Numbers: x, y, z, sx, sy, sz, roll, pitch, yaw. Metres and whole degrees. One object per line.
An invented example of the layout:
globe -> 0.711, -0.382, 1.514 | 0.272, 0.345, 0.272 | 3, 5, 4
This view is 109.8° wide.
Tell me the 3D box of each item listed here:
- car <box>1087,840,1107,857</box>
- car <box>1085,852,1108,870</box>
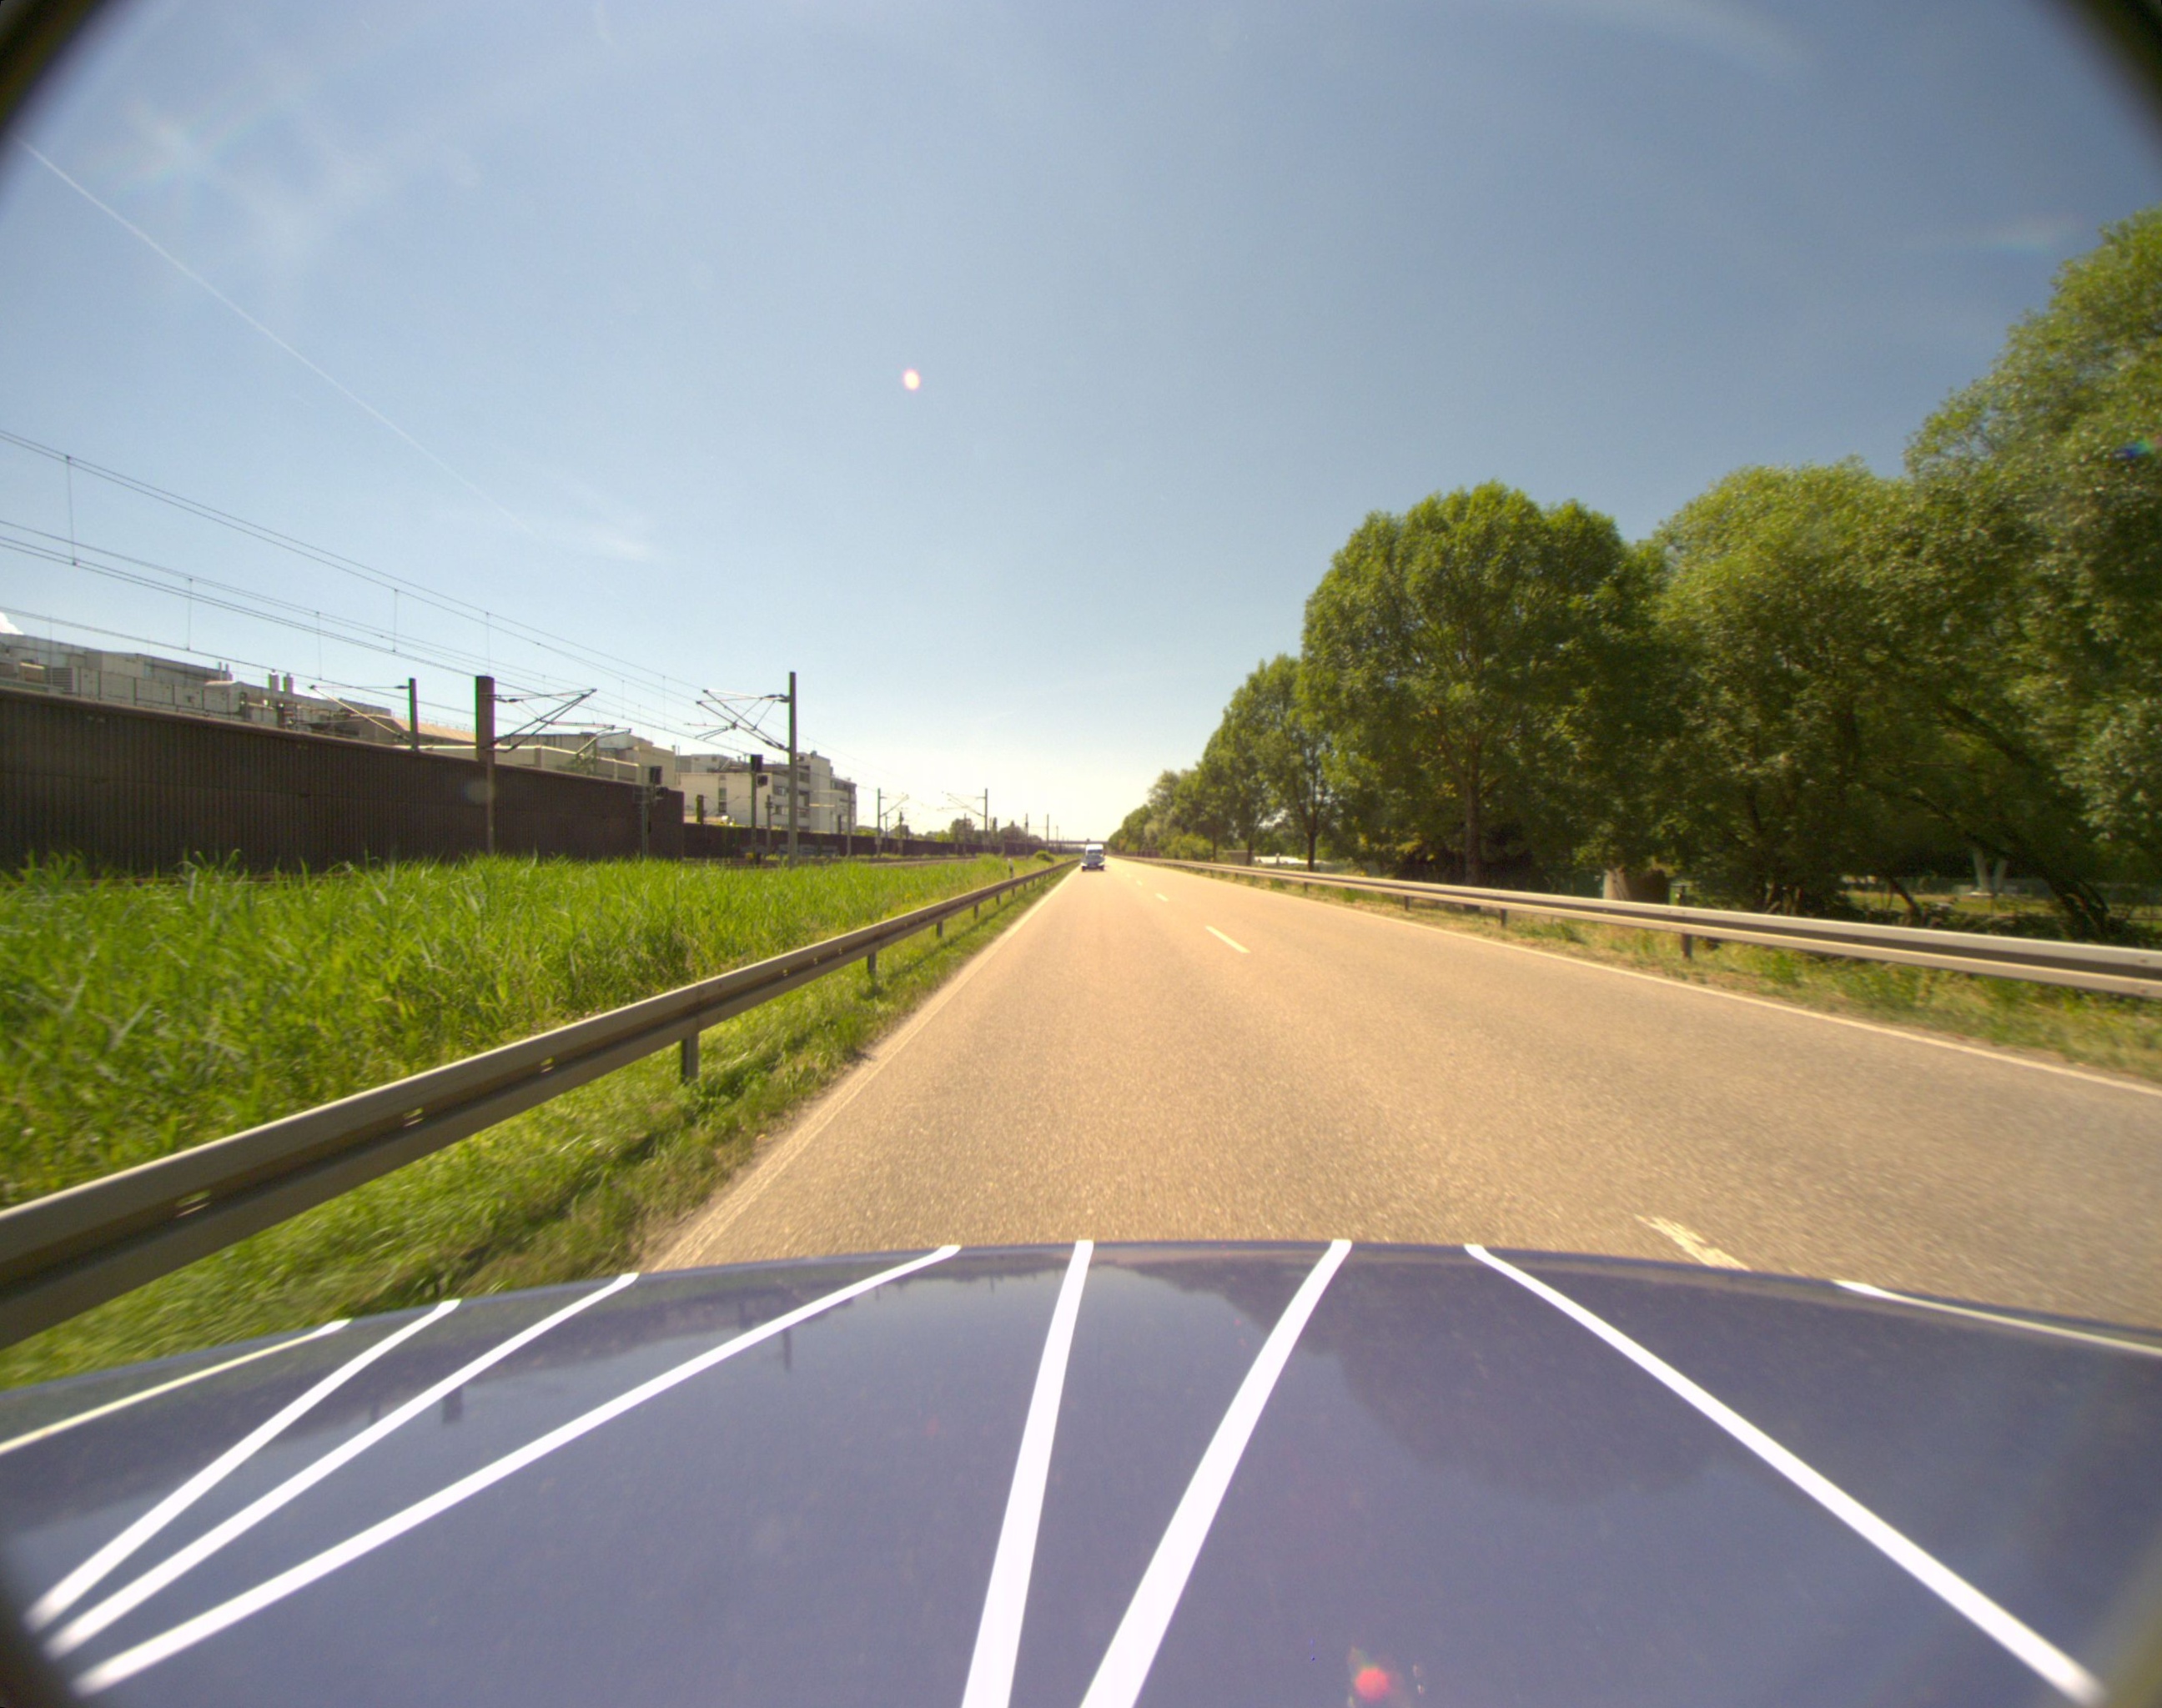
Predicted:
car -> 1.769, -0.592, 84.691 | 2.161, 1.701, 4.493 | -2, 0, 1
car -> 1.250, 0.521, 60.626 | 1.758, 1.313, 4.000 | -2, 0, 1
